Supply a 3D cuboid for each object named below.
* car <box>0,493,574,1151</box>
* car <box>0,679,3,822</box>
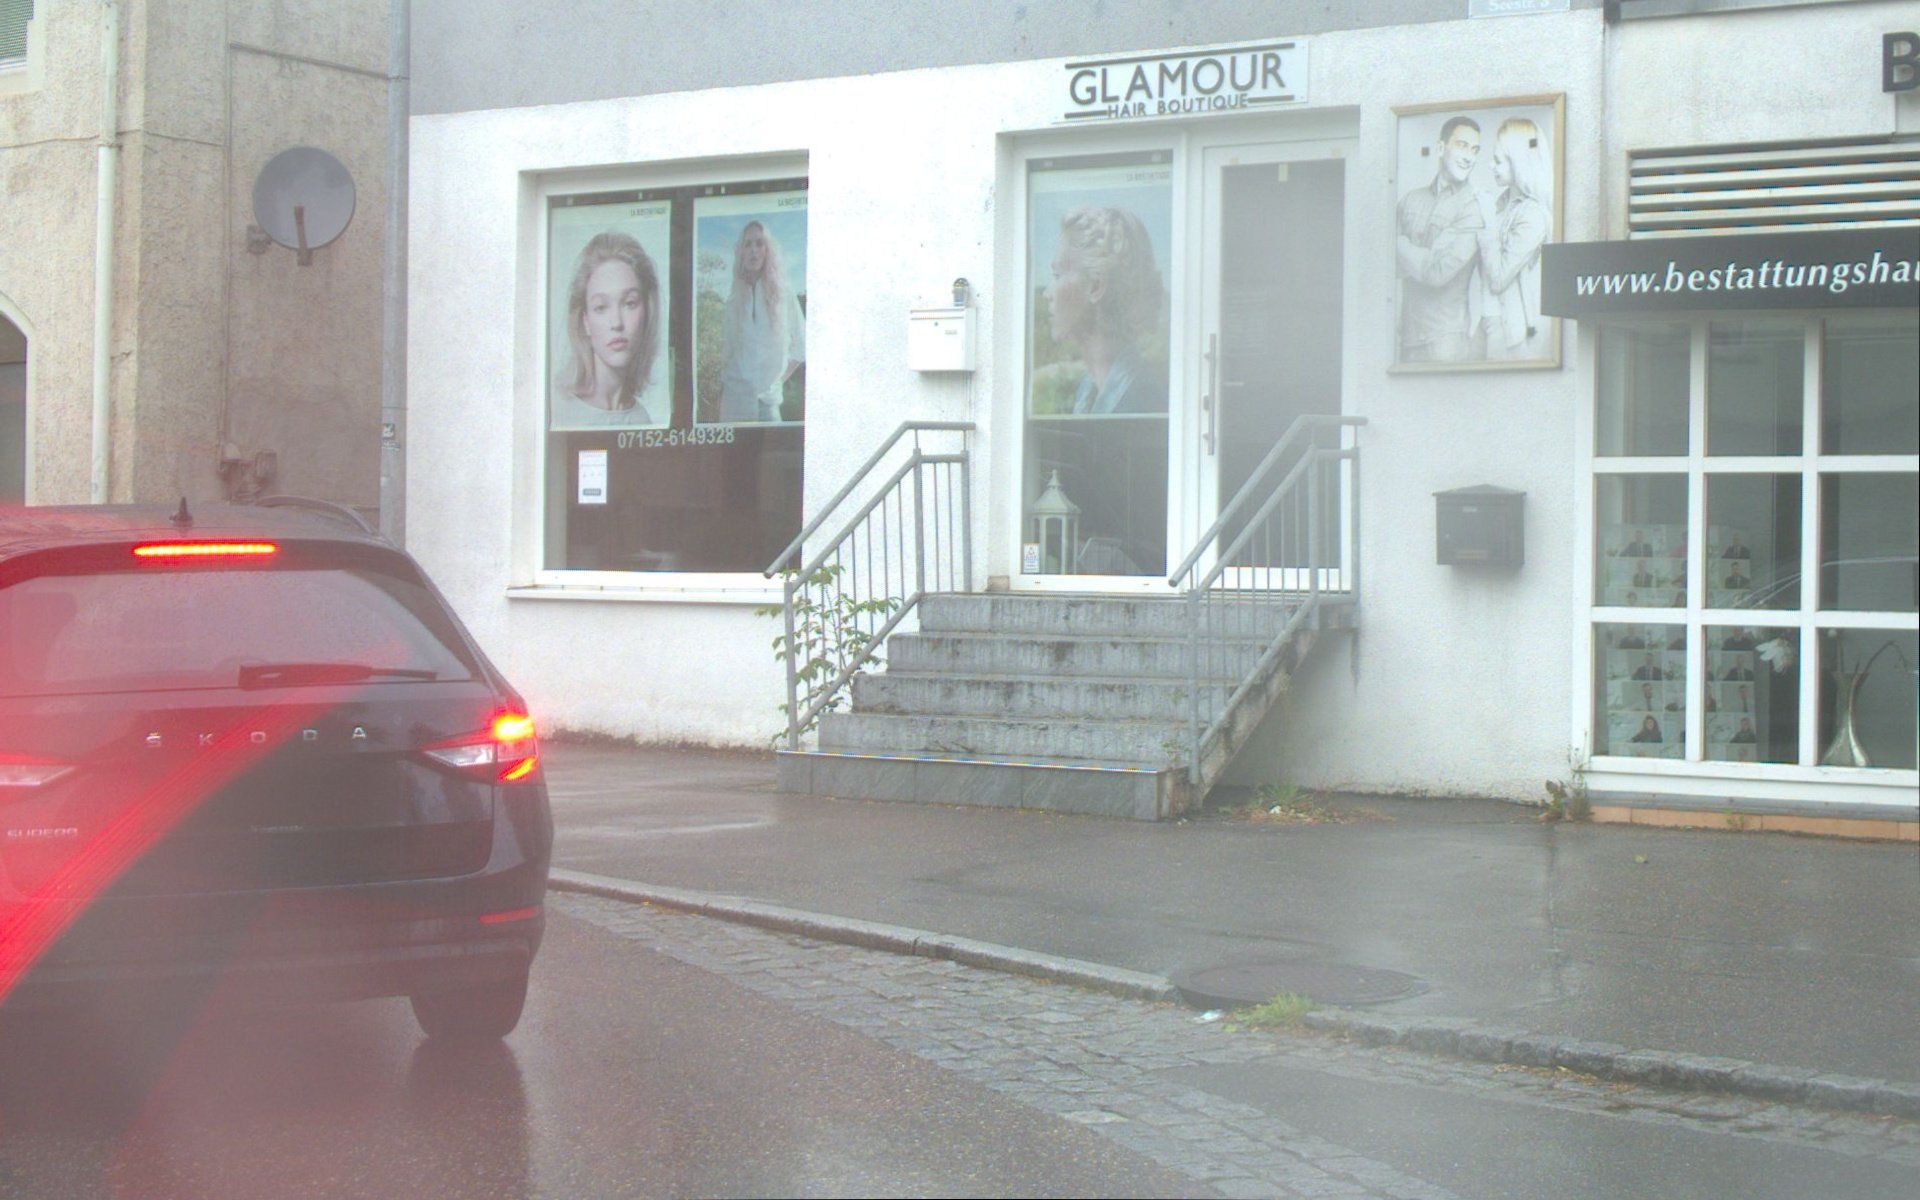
[{"bbox_3d":[-2.563,0.443,10.002,1.732,1.445,4.243,-1,3,-23],"label":"car"},{"bbox_3d":[-6.140,0.180,15.908,1.789,1.512,4.240,-2,2,-38],"label":"car"}]
